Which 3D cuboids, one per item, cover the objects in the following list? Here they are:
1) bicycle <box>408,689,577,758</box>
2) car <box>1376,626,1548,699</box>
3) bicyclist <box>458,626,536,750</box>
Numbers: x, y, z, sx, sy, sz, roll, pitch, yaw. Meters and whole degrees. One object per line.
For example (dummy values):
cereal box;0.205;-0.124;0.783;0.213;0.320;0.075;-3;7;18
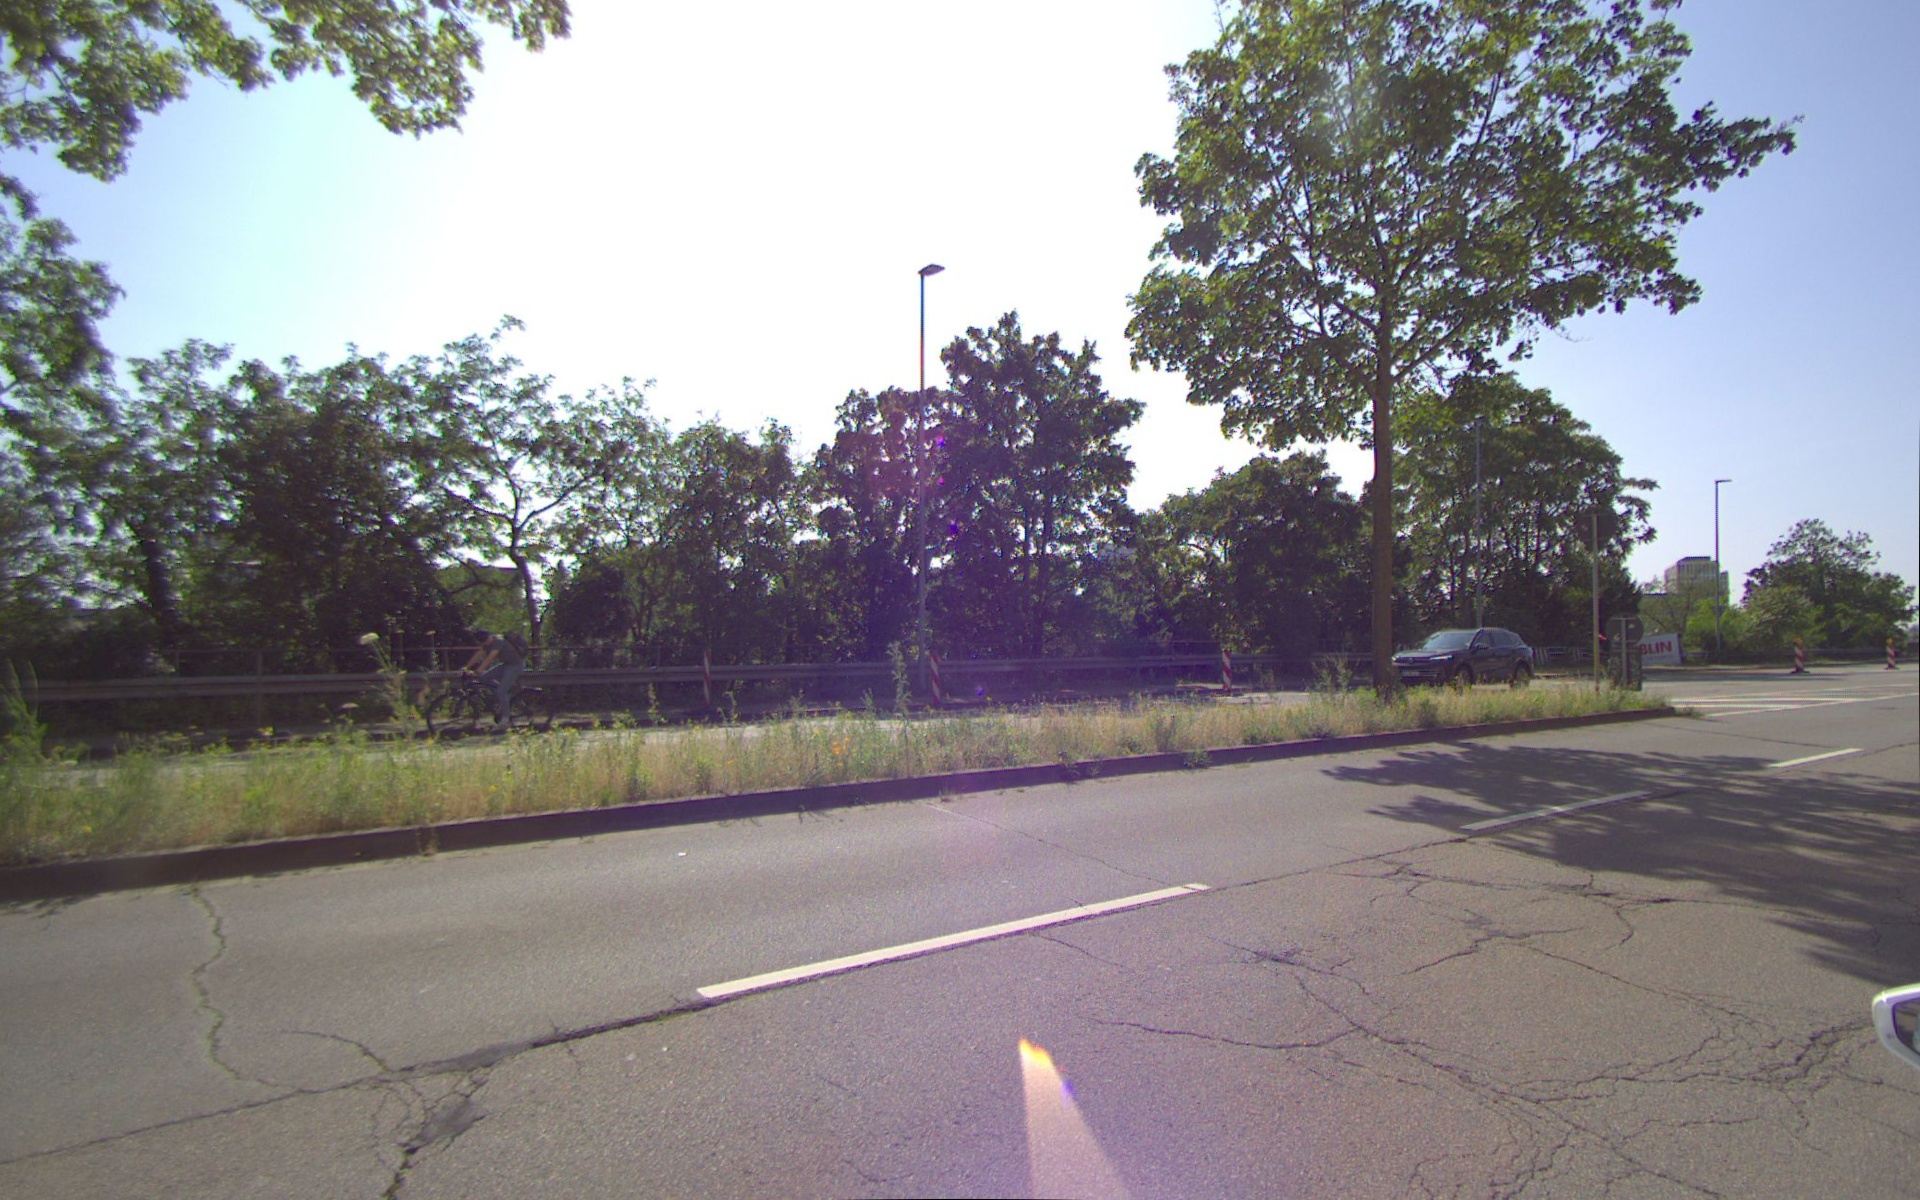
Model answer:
bicycle;-7.254;1.891;15.655;2.319;0.917;0.689;1;-3;-35
car;13.235;1.593;26.410;4.679;1.756;1.982;1;-2;-33
bicyclist;-7.233;1.347;15.697;1.007;1.855;0.692;1;-3;-35
